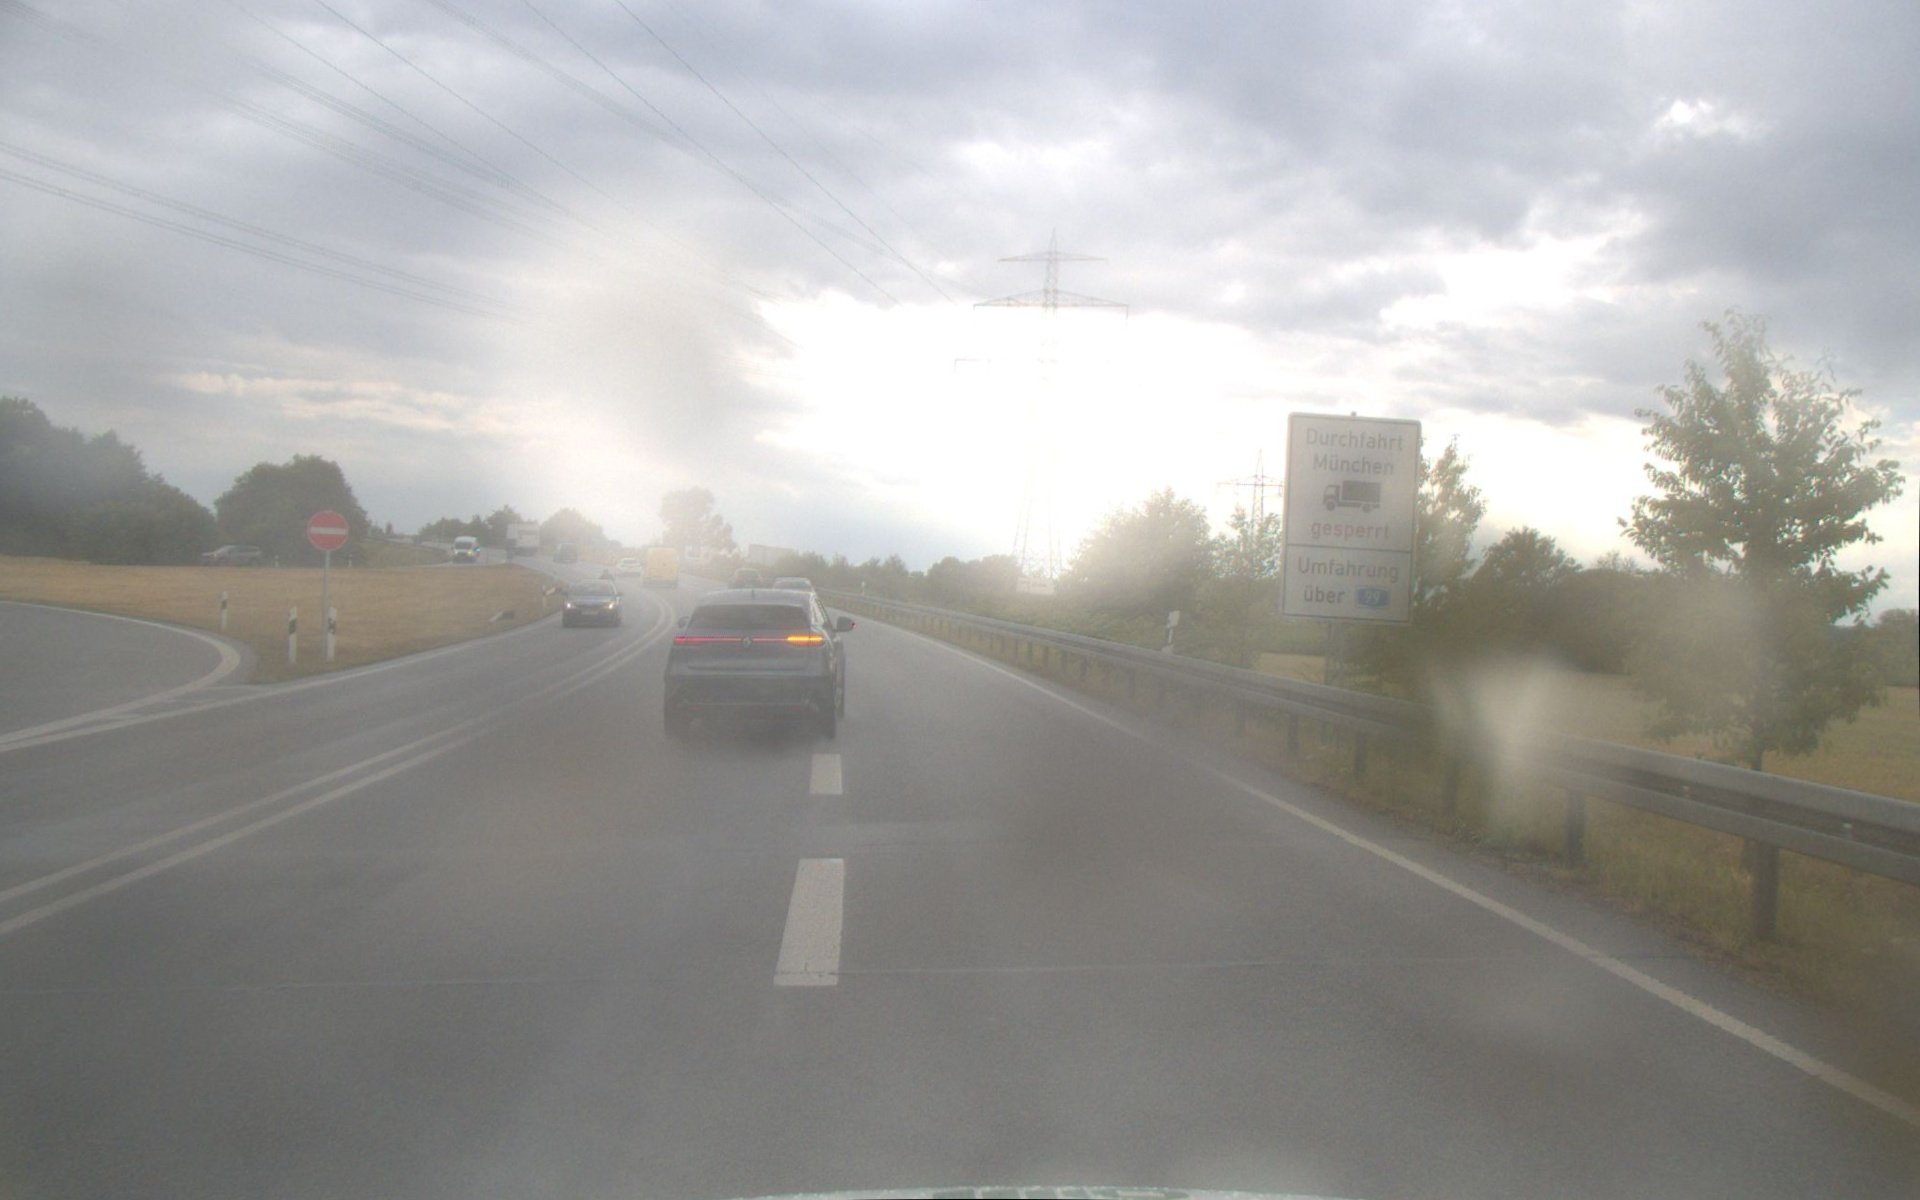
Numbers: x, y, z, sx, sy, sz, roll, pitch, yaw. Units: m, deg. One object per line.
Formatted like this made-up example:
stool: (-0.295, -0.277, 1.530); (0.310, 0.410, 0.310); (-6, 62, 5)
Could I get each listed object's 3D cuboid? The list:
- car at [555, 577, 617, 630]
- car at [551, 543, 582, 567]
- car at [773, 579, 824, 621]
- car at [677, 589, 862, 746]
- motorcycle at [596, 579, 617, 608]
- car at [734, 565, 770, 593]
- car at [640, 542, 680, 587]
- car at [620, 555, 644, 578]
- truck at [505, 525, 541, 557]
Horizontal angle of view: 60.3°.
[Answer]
car: (-12.000, 0.131, 53.235); (1.767, 1.622, 4.214); (1, 0, -11)
car: (-41.007, -4.705, 172.159); (2.563, 2.290, 5.503); (1, 0, -19)
car: (-6.032, 0.002, 61.558); (1.757, 1.466, 3.994); (-1, 0, -7)
car: (-2.013, 0.641, 17.955); (1.757, 1.466, 3.996); (1, 1, -5)
motorcycle: (-16.345, -0.305, 76.468); (0.789, 1.260, 2.175); (1, 1, -17)
car: (-12.565, -1.226, 99.607); (1.761, 1.568, 3.986); (-1, -1, -13)
car: (-19.994, -2.321, 110.115); (2.527, 2.773, 7.178); (1, 0, -11)
car: (-26.476, -2.672, 133.569); (1.760, 1.717, 3.987); (1, 0, -13)
truck: (-51.658, -6.965, 195.473); (3.005, 3.444, 7.590); (1, 0, -23)
